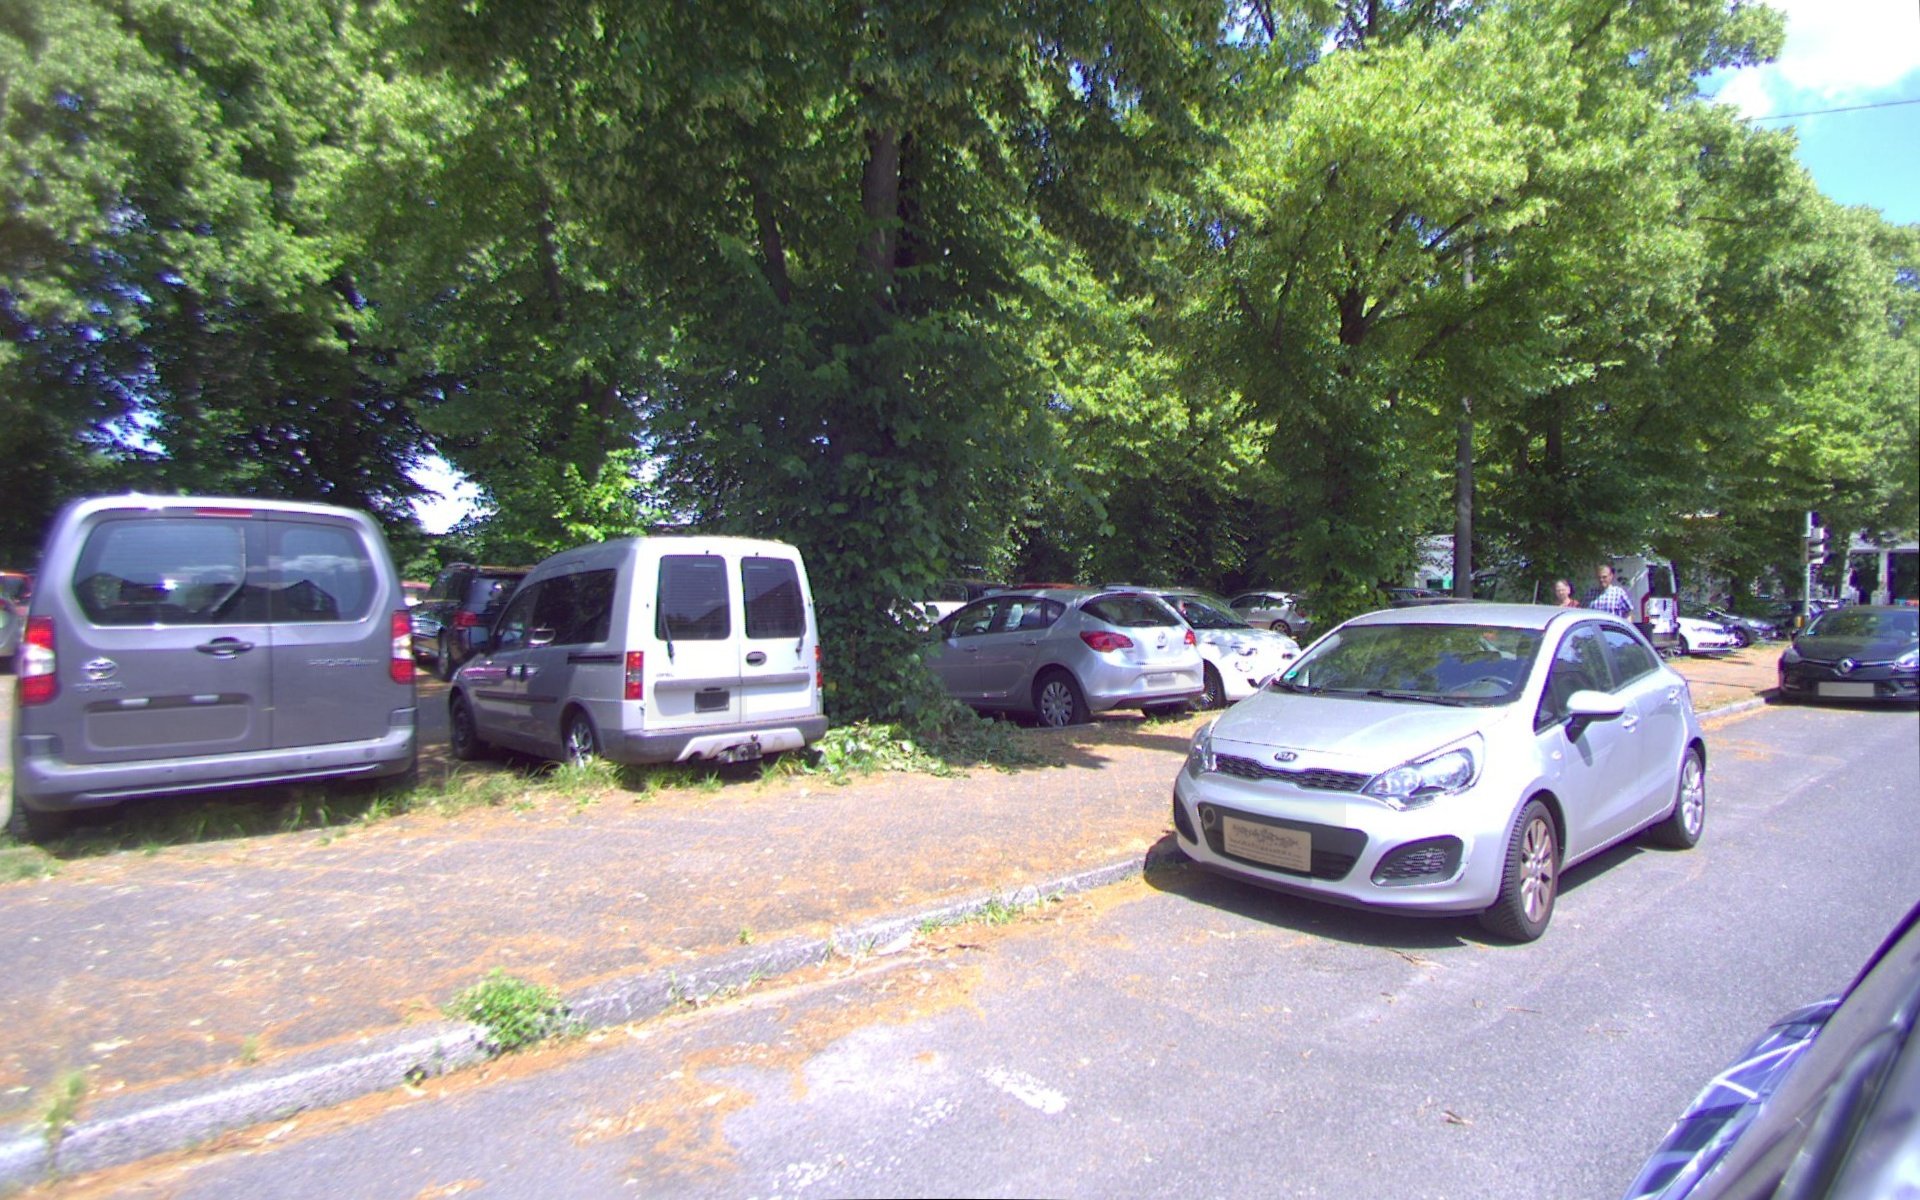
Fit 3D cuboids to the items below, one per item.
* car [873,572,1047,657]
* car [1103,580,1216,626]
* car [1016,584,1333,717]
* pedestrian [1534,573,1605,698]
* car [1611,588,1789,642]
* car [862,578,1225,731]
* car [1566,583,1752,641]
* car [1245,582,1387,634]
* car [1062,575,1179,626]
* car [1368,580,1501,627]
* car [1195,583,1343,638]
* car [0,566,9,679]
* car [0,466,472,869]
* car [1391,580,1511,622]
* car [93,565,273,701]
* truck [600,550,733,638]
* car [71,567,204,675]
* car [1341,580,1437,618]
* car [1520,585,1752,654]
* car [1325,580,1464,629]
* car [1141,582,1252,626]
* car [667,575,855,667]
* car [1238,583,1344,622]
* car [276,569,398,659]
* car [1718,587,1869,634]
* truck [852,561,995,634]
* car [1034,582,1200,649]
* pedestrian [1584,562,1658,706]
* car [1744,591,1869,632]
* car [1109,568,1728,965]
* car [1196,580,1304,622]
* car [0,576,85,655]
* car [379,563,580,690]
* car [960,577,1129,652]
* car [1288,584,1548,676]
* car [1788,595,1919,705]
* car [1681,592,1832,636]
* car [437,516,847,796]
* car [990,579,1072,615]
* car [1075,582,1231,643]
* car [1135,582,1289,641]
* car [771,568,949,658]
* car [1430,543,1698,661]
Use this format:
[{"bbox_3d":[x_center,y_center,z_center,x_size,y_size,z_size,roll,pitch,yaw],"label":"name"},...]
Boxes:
[{"bbox_3d":[-0.097,0.235,22.467,1.772,1.682,3.997,0,2,-38],"label":"car"},{"bbox_3d":[7.163,0.074,36.581,1.706,1.483,3.808,0,2,-37],"label":"car"},{"bbox_3d":[2.699,0.544,13.506,1.639,1.446,3.996,0,1,-39],"label":"car"},{"bbox_3d":[8.183,0.459,13.580,0.724,1.613,0.618,0,0,-41],"label":"pedestrian"},{"bbox_3d":[22.171,0.420,30.450,1.608,1.512,4.074,0,0,-41],"label":"car"},{"bbox_3d":[0.780,0.501,11.462,1.777,1.416,3.992,0,0,-42],"label":"car"},{"bbox_3d":[19.834,0.350,28.857,1.608,1.513,4.073,0,-1,-41],"label":"car"},{"bbox_3d":[11.429,0.214,32.698,1.772,1.491,3.997,0,2,-38],"label":"car"},{"bbox_3d":[5.441,-0.026,34.610,1.706,1.607,3.808,0,2,-37],"label":"car"},{"bbox_3d":[17.937,0.103,38.371,4.253,1.607,1.790,2,2,44],"label":"car"},{"bbox_3d":[9.303,0.250,30.723,1.772,1.491,3.997,0,2,-38],"label":"car"},{"bbox_3d":[-15.263,0.283,15.035,1.564,1.573,3.386,0,2,-42],"label":"car"},{"bbox_3d":[-4.806,0.284,6.601,1.981,1.773,3.994,0,0,-41],"label":"car"},{"bbox_3d":[19.509,0.017,40.331,1.709,1.540,3.948,0,2,-44],"label":"car"},{"bbox_3d":[-10.592,0.322,13.688,1.652,1.547,3.993,0,2,-42],"label":"car"},{"bbox_3d":[-6.973,-0.176,23.850,1.706,1.905,3.807,0,1,-38],"label":"truck"},{"bbox_3d":[-13.705,0.264,16.800,1.564,1.573,3.386,0,2,-42],"label":"car"},{"bbox_3d":[20.096,-0.087,47.486,1.709,1.645,3.801,0,2,-44],"label":"car"},{"bbox_3d":[16.183,0.460,24.415,1.777,1.513,4.331,0,-1,-41],"label":"car"},{"bbox_3d":[15.651,0.127,36.593,1.787,1.607,4.260,0,2,-41],"label":"car"},{"bbox_3d":[8.778,0.117,37.804,1.706,1.511,3.808,0,1,-38],"label":"car"},{"bbox_3d":[-3.801,0.301,18.919,1.652,1.501,3.993,0,2,-42],"label":"car"},{"bbox_3d":[13.499,0.075,41.439,1.706,1.483,3.808,0,2,-38],"label":"car"},{"bbox_3d":[-11.631,0.248,18.780,1.658,1.486,3.912,0,-1,-36],"label":"car"},{"bbox_3d":[29.162,0.353,35.516,1.597,1.555,3.773,0,0,-29],"label":"car"},{"bbox_3d":[-1.063,-0.101,27.650,1.844,1.837,4.132,0,1,-38],"label":"truck"},{"bbox_3d":[3.873,0.319,25.481,1.772,1.491,3.997,0,2,-38],"label":"car"},{"bbox_3d":[8.560,0.421,13.109,0.724,1.787,0.618,0,0,-41],"label":"pedestrian"},{"bbox_3d":[34.783,0.445,41.636,1.823,1.546,3.756,0,1,-43],"label":"car"},{"bbox_3d":[2.785,0.613,5.766,3.823,1.504,1.770,-1,0,-41],"label":"car"},{"bbox_3d":[11.363,0.006,39.858,1.706,1.483,3.808,0,2,-37],"label":"car"},{"bbox_3d":[-21.696,0.310,23.168,1.683,1.688,3.808,-1,1,-28],"label":"car"},{"bbox_3d":[-7.465,0.291,15.531,1.673,1.700,3.992,0,2,-43],"label":"car"},{"bbox_3d":[1.942,0.272,24.246,1.772,1.606,3.997,0,2,-38],"label":"car"},{"bbox_3d":[8.262,0.519,18.557,1.686,1.492,3.996,0,-1,-38],"label":"car"},{"bbox_3d":[13.867,0.660,15.103,3.929,1.446,1.666,0,0,-40],"label":"car"},{"bbox_3d":[26.248,0.426,33.422,3.833,1.375,1.605,0,0,42],"label":"car"},{"bbox_3d":[-2.686,0.300,8.039,1.636,1.688,3.767,0,1,-43],"label":"car"},{"bbox_3d":[3.209,-0.169,46.523,1.705,1.587,3.810,0,1,-36],"label":"car"},{"bbox_3d":[5.164,0.277,27.536,1.772,1.491,3.997,0,2,-38],"label":"car"},{"bbox_3d":[7.102,0.259,28.805,1.772,1.491,3.997,0,2,-38],"label":"car"},{"bbox_3d":[-2.161,0.184,20.995,1.652,1.661,3.993,0,2,-42],"label":"car"},{"bbox_3d":[13.146,0.082,22.285,2.068,2.305,4.611,0,-1,-40],"label":"car"}]
